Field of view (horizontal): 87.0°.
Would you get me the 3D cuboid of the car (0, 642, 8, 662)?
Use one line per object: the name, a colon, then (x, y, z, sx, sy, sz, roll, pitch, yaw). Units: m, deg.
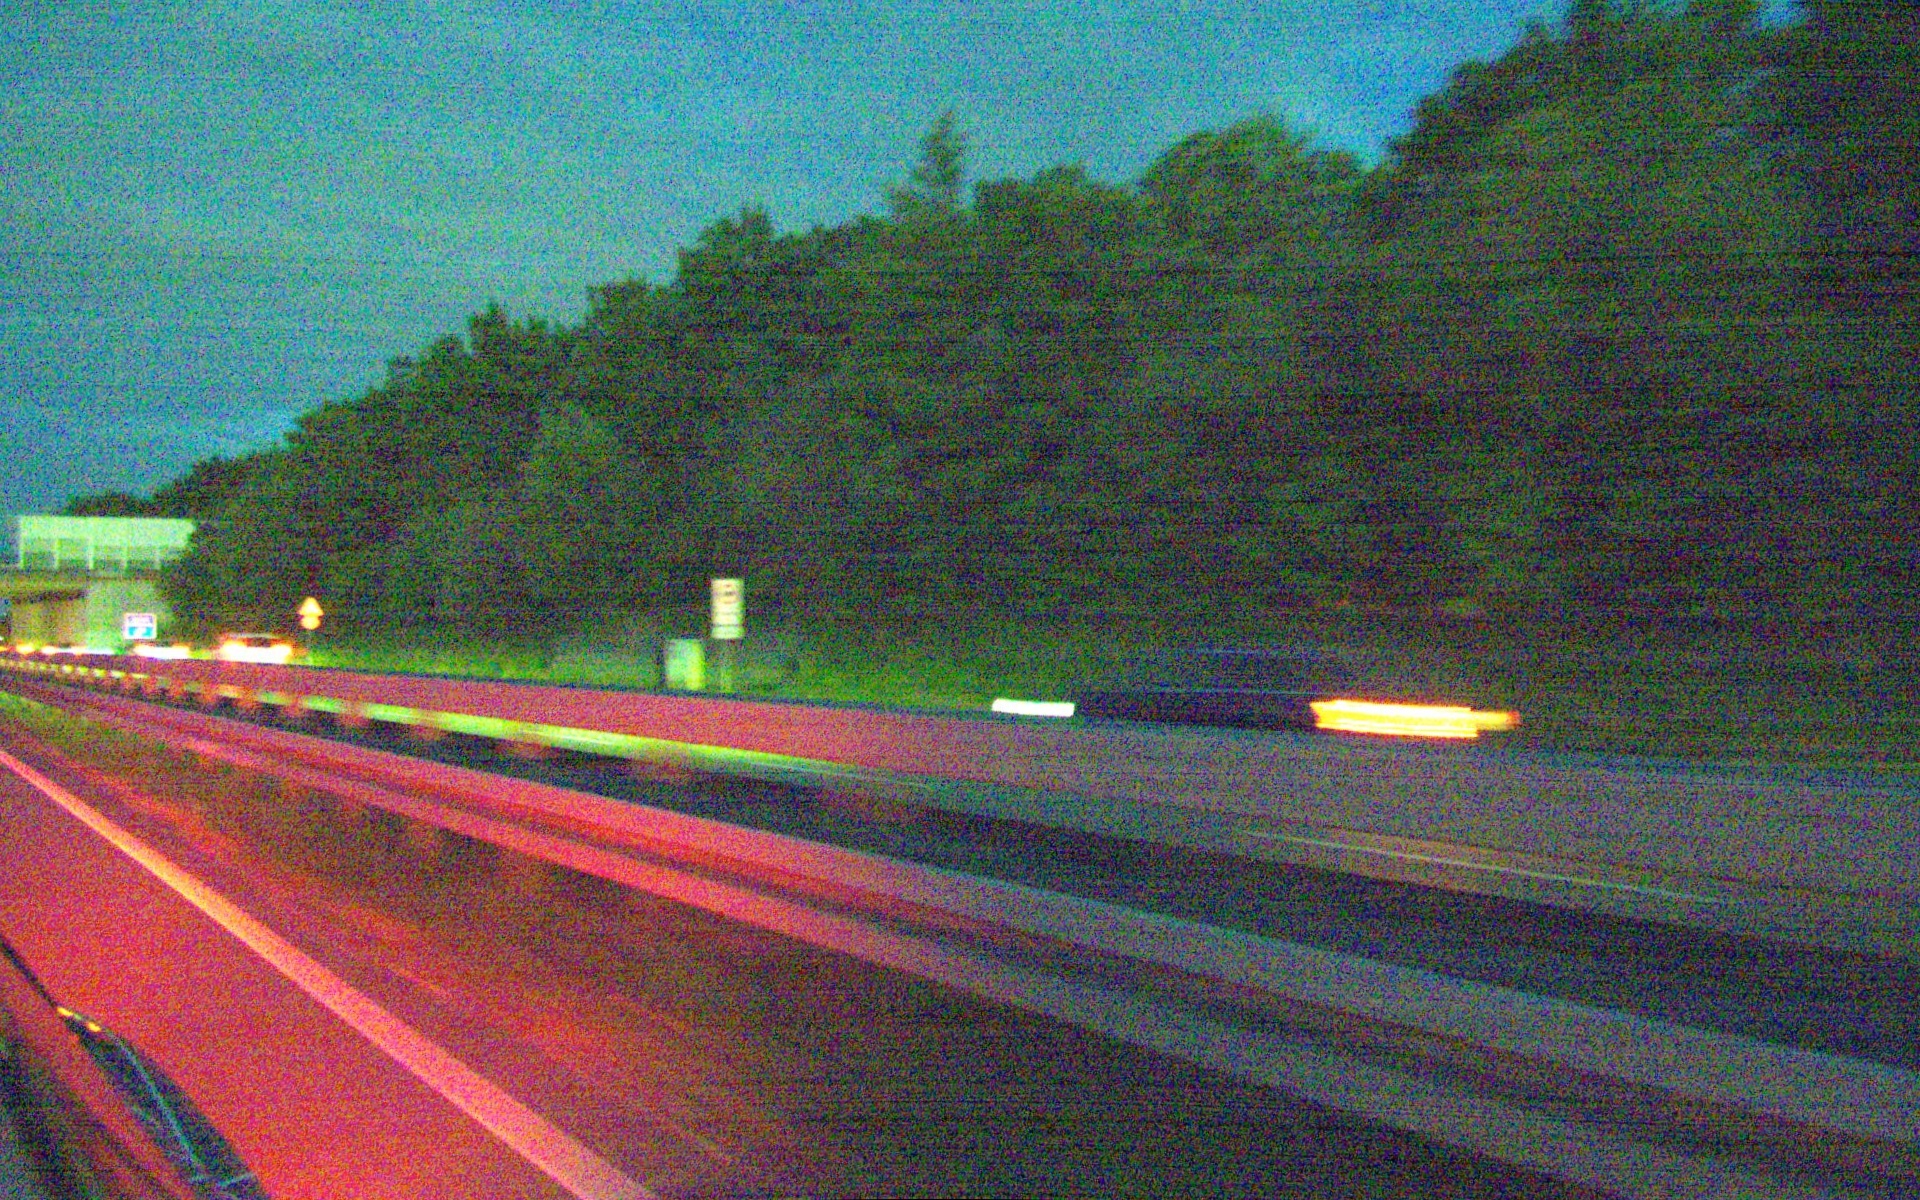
car: (-77.906, 4.108, 80.701, 4.691, 1.565, 2.102, -2, -2, 37)

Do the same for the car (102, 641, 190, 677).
car: (-37.600, 2.671, 46.735, 4.691, 1.565, 2.102, -2, -2, 37)

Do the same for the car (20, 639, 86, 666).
car: (-54.692, 3.121, 60.974, 4.691, 1.565, 2.102, -2, -2, 37)

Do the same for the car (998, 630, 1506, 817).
car: (2.784, 1.094, 10.460, 4.699, 1.498, 1.932, -2, -4, 44)

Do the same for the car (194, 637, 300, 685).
car: (-26.038, 2.166, 36.903, 4.696, 1.643, 2.099, -2, -3, 41)

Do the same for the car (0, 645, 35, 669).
car: (-64.986, 3.843, 68.934, 4.691, 1.565, 2.102, -2, -2, 37)
